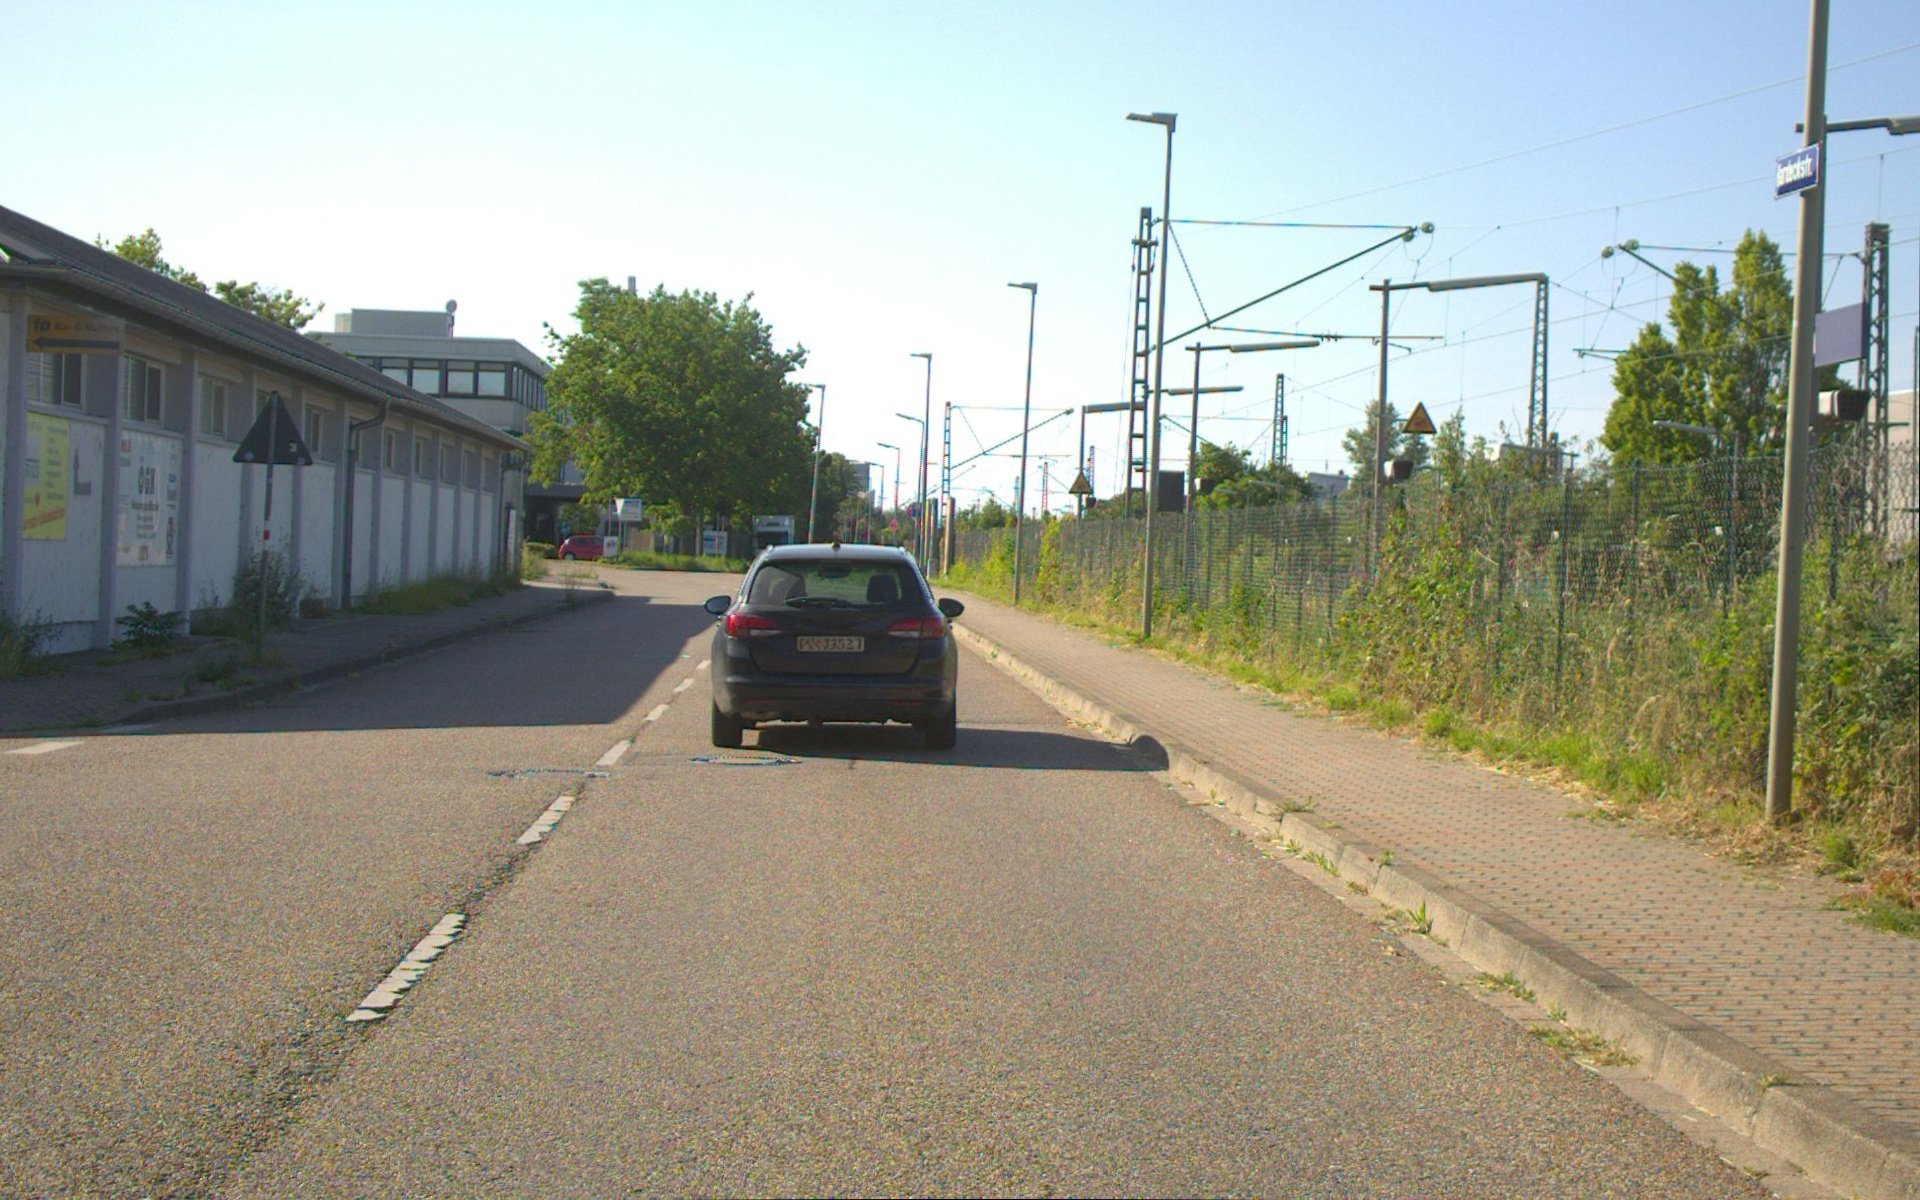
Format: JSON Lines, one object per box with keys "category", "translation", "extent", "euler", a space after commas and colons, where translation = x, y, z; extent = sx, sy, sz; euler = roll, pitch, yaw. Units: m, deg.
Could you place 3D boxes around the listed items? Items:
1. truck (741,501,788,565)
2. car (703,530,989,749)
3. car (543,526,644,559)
{"category": "truck", "translation": [-12.703, -4.291, 222.308], "extent": [2.612, 3.872, 13.534], "euler": [3, 1, -4]}
{"category": "car", "translation": [-0.894, 0.245, 25.986], "extent": [1.942, 1.483, 4.566], "euler": [1, 1, -3]}
{"category": "car", "translation": [-18.944, -2.971, 177.835], "extent": [4.911, 1.479, 2.000], "euler": [2, 2, 2]}
